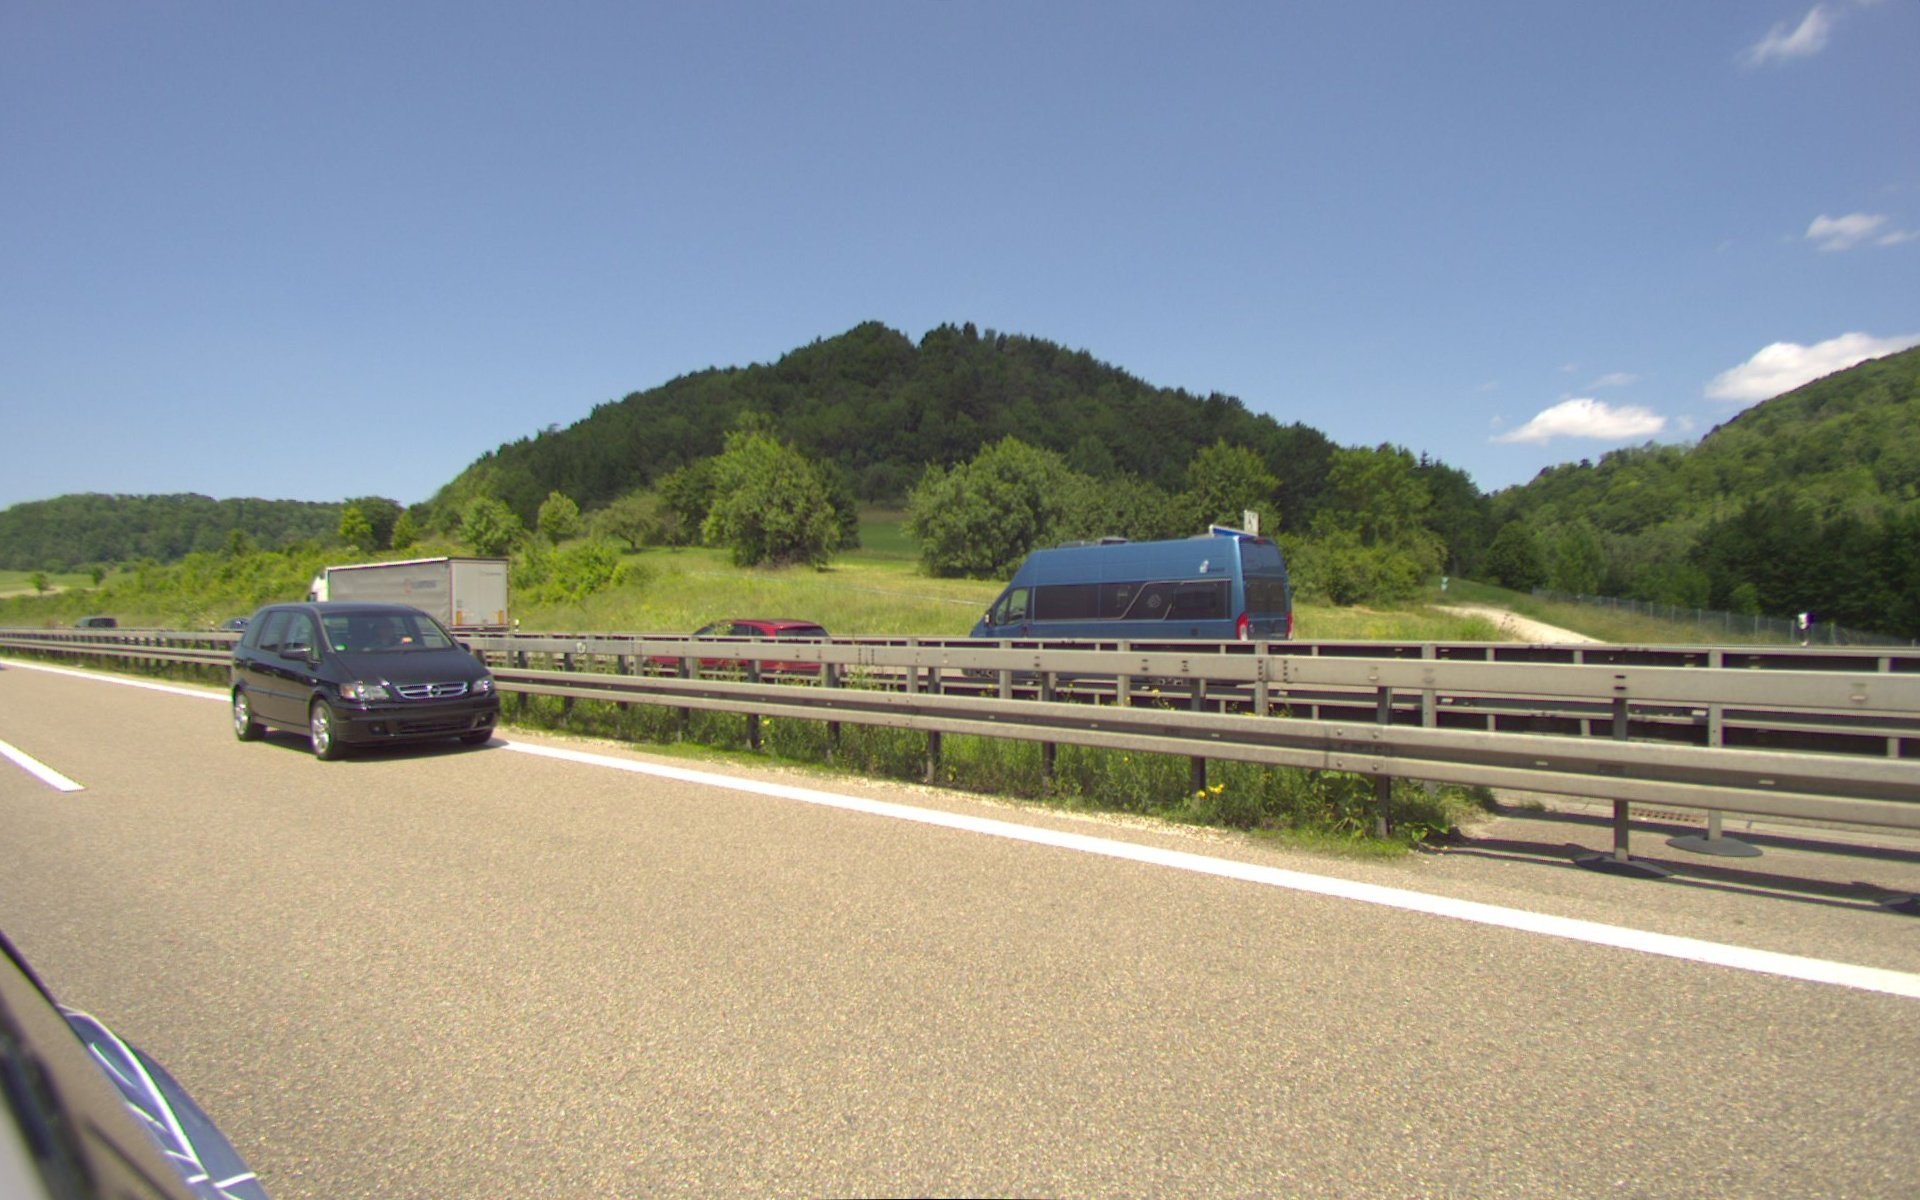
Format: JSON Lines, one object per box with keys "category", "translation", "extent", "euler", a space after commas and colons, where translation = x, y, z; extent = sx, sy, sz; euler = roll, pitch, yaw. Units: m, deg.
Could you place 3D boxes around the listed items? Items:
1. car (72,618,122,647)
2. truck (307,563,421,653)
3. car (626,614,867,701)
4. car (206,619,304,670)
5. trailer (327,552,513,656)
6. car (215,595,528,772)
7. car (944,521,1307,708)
{"category": "car", "translation": [-59.275, 2.209, 69.481], "extent": [4.405, 1.867, 1.973], "euler": [-1, 0, 41]}
{"category": "truck", "translation": [-30.076, 0.400, 50.929], "extent": [7.227, 4.264, 2.769], "euler": [-1, 0, 41]}
{"category": "car", "translation": [-4.089, 1.001, 18.927], "extent": [4.718, 1.397, 1.973], "euler": [-2, -1, 41]}
{"category": "car", "translation": [-25.830, 1.595, 37.039], "extent": [4.278, 1.722, 1.828], "euler": [-2, -1, 39]}
{"category": "trailer", "translation": [-25.281, 0.215, 46.802], "extent": [13.607, 4.222, 2.825], "euler": [-1, 0, 41]}
{"category": "car", "translation": [-6.856, 0.828, 11.580], "extent": [4.443, 1.647, 1.782], "euler": [-1, -1, 41]}
{"category": "car", "translation": [2.811, 0.243, 18.560], "extent": [6.396, 2.884, 2.133], "euler": [-1, 0, 41]}
